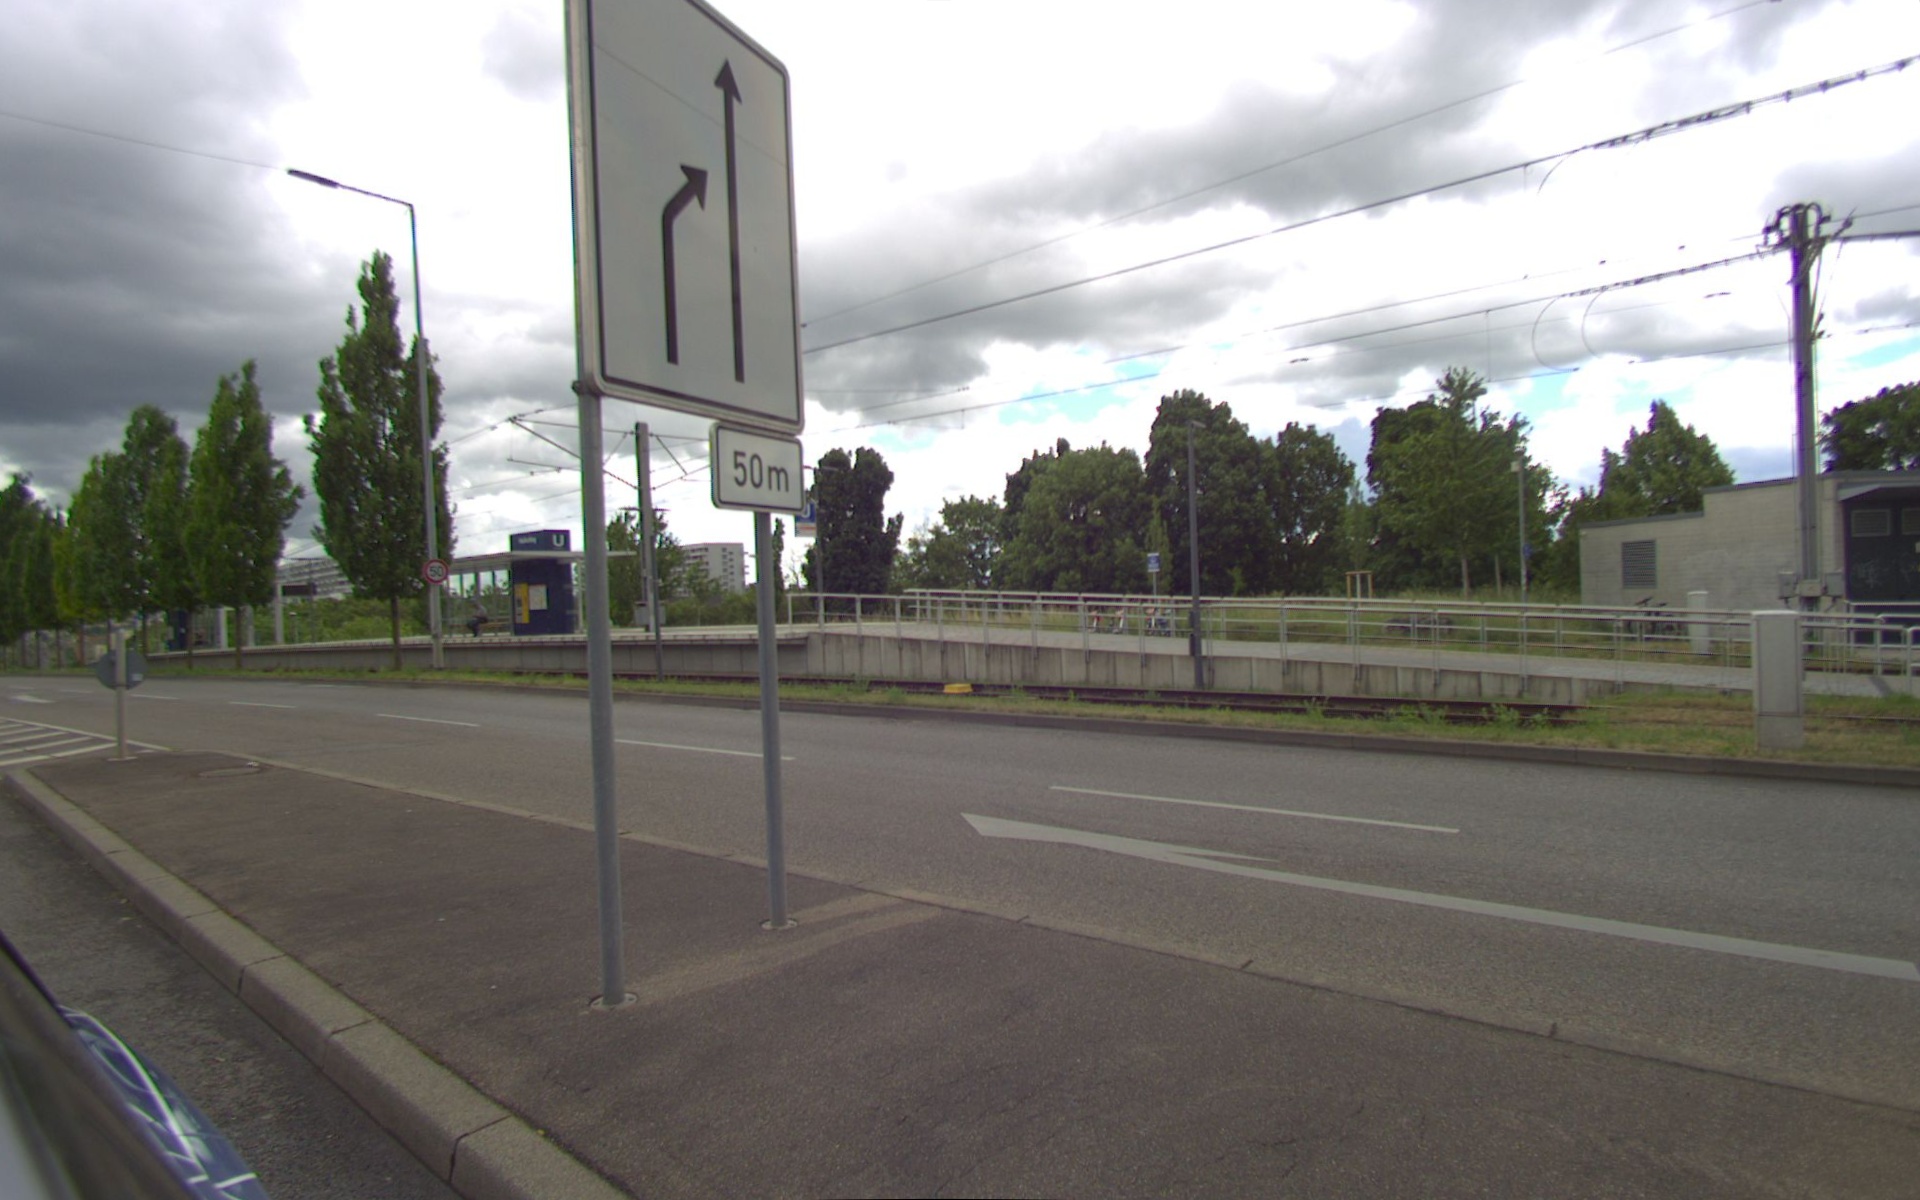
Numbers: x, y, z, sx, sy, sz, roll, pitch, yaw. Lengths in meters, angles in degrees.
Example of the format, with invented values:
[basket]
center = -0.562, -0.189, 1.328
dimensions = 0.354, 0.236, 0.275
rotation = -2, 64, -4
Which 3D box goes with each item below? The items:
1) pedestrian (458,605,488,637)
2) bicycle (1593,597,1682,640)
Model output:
[pedestrian]
center = -18.311, 0.791, 38.062
dimensions = 0.837, 1.184, 0.741
rotation = -1, 0, 40
[bicycle]
center = 18.202, 0.478, 27.259
dimensions = 0.668, 1.114, 2.260
rotation = -1, 0, -7
